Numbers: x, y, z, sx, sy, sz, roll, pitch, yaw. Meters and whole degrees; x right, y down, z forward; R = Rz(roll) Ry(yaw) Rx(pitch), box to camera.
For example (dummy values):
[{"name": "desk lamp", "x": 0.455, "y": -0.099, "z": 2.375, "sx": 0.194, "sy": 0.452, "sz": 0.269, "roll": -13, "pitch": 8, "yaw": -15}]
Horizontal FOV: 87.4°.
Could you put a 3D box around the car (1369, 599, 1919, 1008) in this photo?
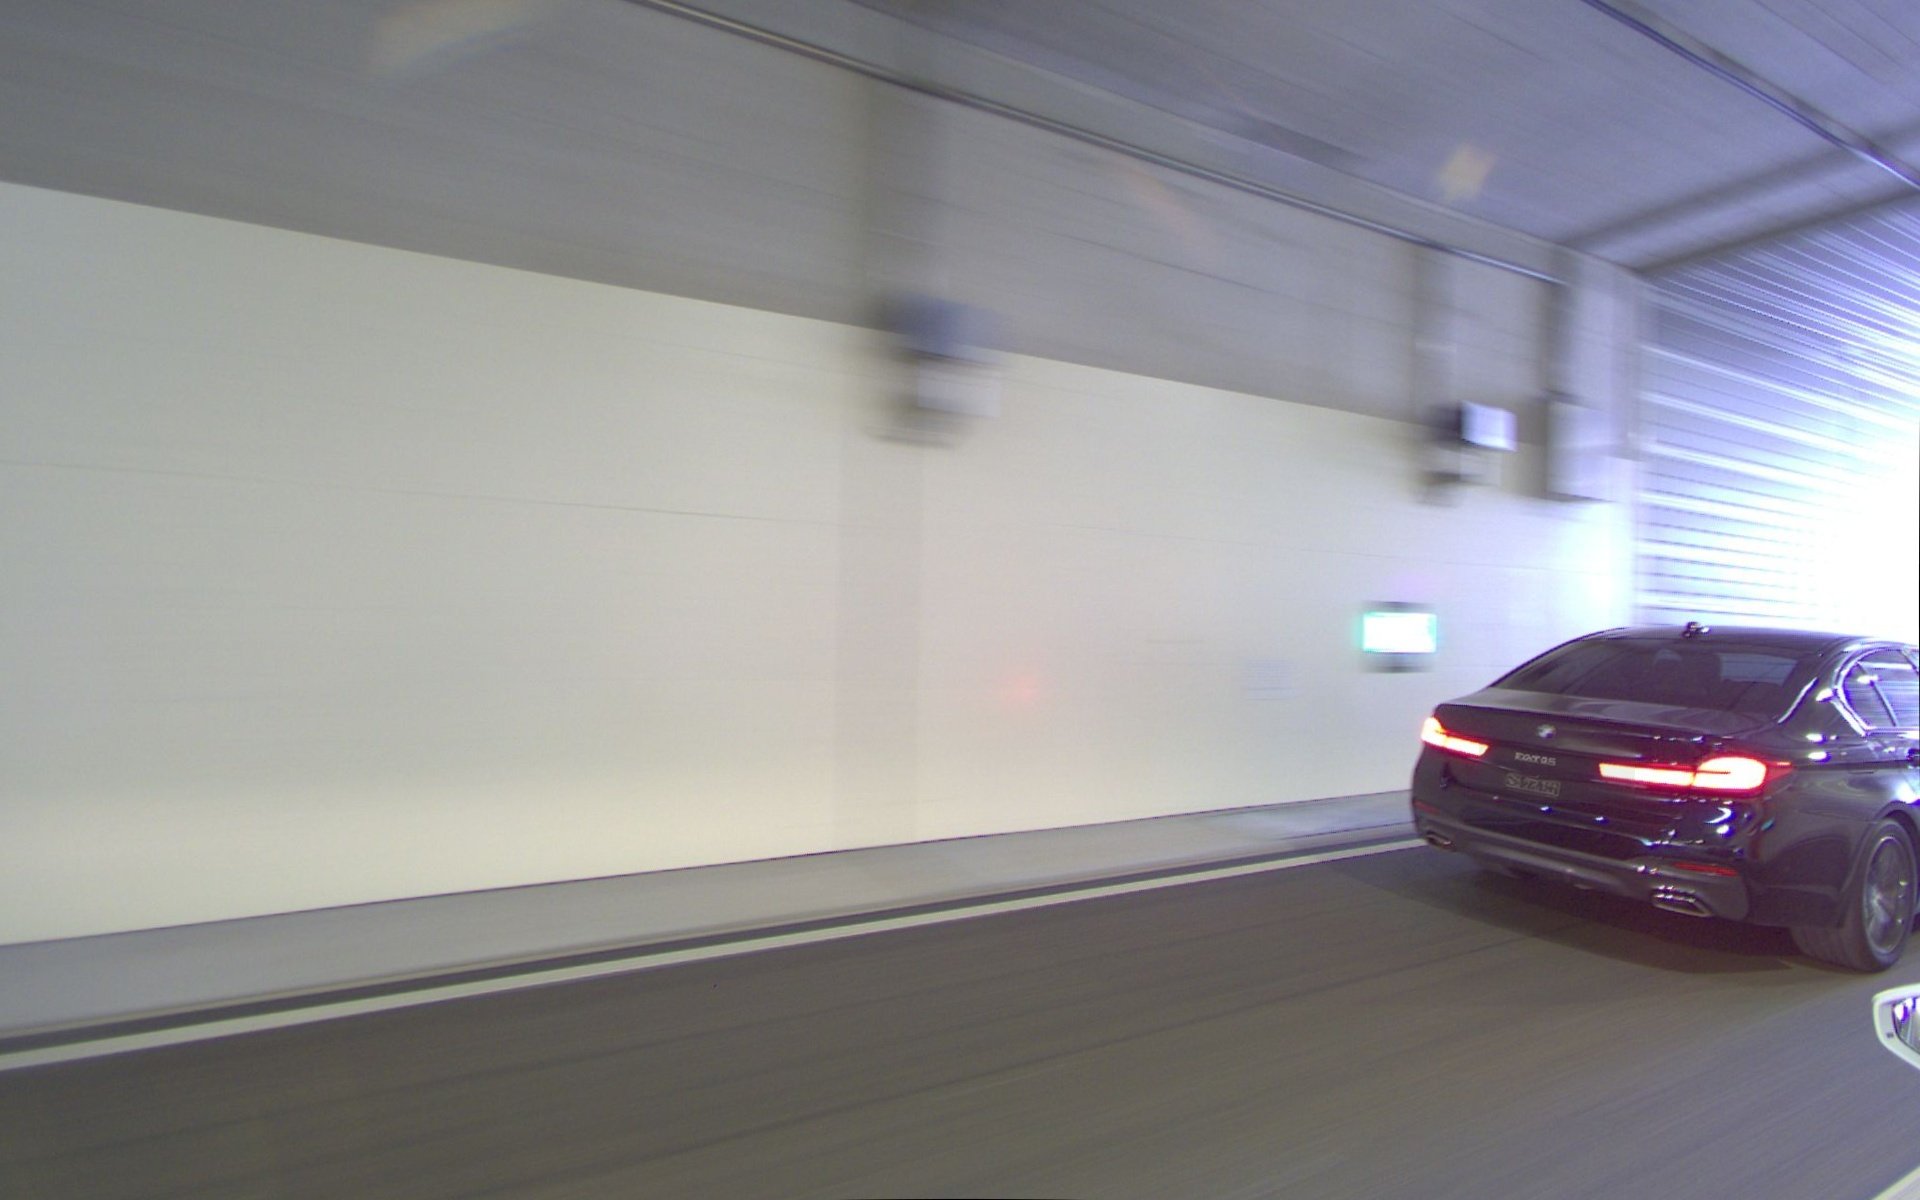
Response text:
[{"name": "car", "x": 4.643, "y": 0.831, "z": 5.637, "sx": 4.793, "sy": 1.441, "sz": 1.688, "roll": 2, "pitch": 2, "yaw": -29}]
